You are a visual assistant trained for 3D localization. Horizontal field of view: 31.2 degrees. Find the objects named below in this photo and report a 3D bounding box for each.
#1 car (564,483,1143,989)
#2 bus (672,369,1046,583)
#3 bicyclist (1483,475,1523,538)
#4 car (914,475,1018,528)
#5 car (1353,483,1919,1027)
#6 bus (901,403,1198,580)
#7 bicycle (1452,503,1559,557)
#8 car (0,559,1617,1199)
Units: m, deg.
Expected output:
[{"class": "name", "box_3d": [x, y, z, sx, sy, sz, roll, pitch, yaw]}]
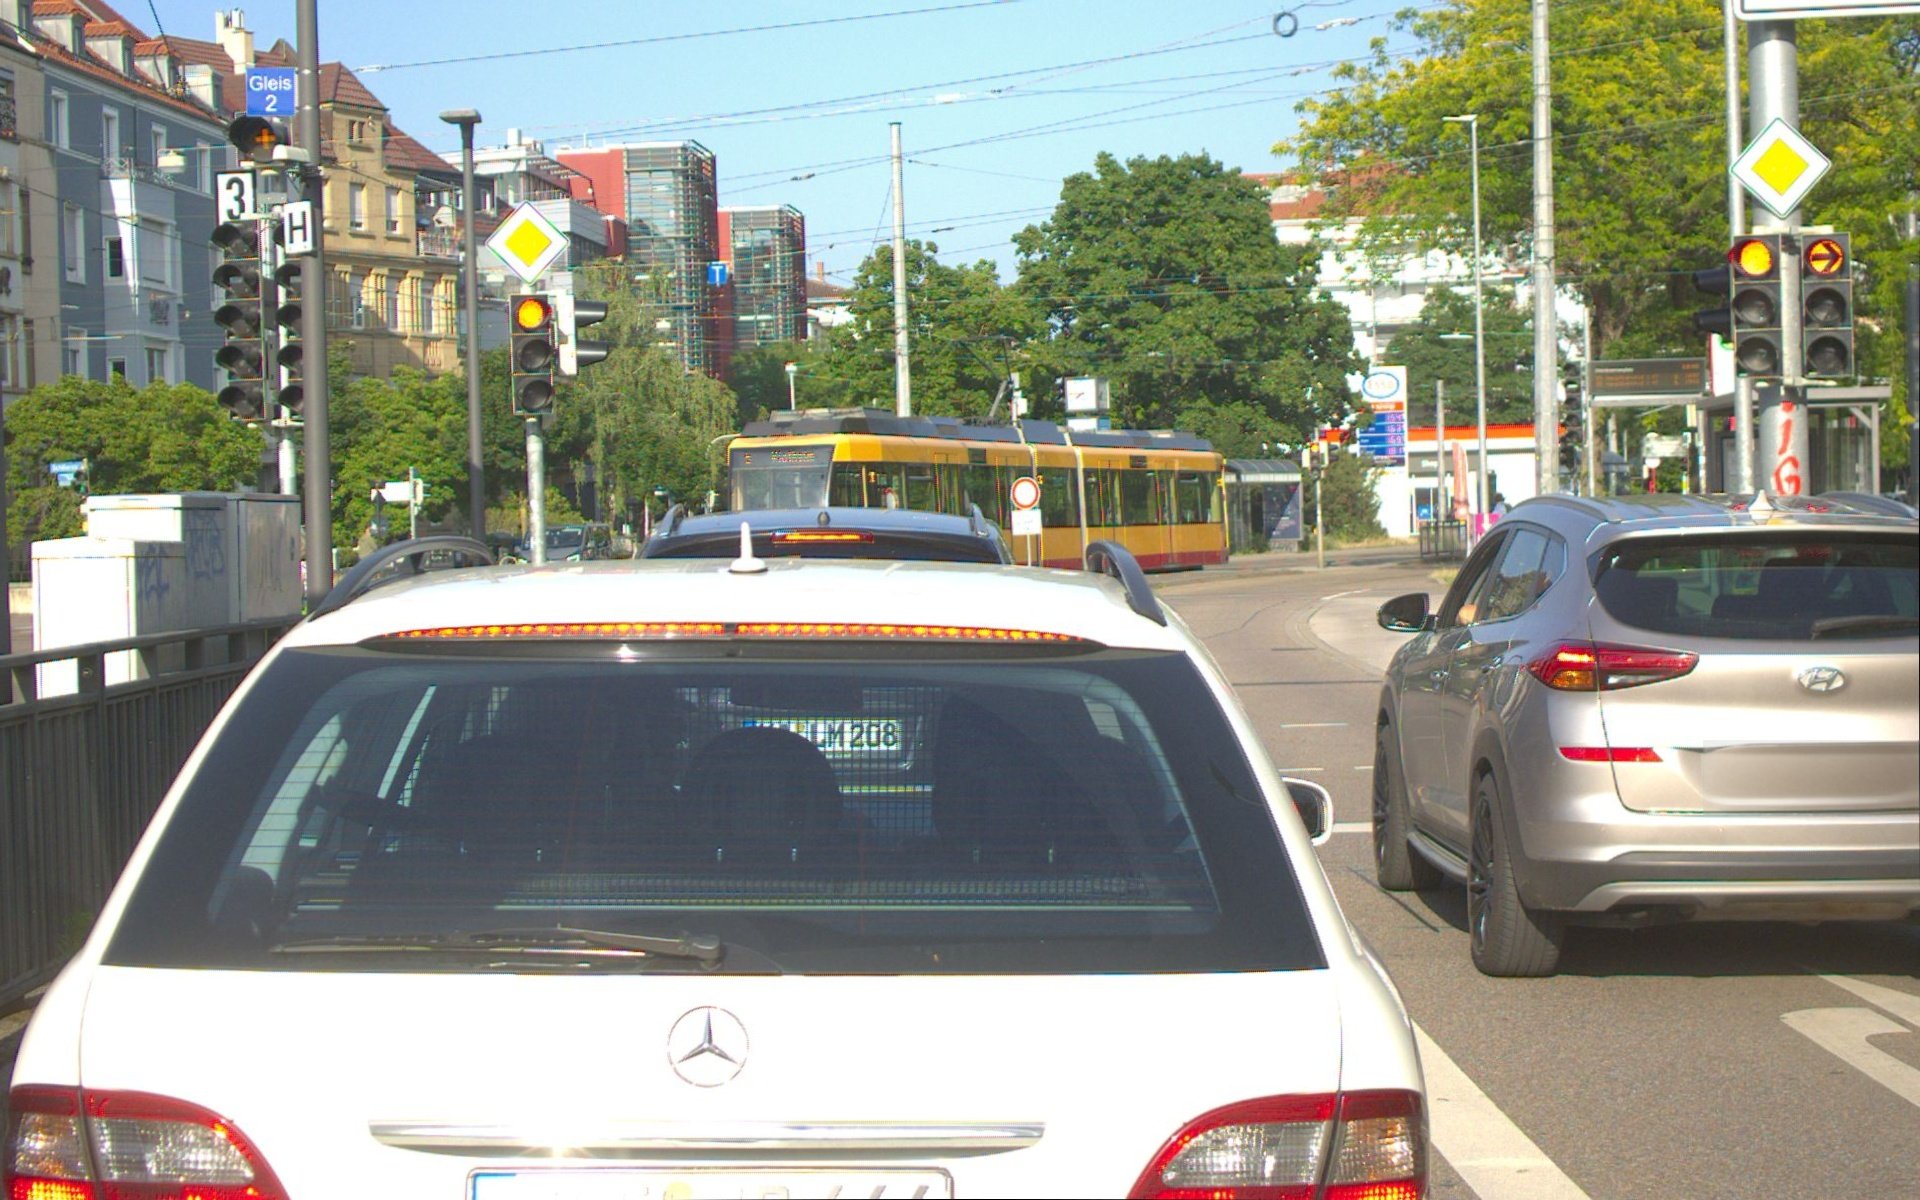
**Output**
[{"class": "car", "box_3d": [-0.368, 0.409, 13.139, 1.885, 1.645, 3.648, 1, 1, -1]}, {"class": "bus", "box_3d": [-1.592, -2.150, 64.133, 3.111, 3.593, 12.364, 1, 1, 17]}, {"class": "bicyclist", "box_3d": [12.933, -2.220, 81.918, 0.861, 1.476, 0.789, -1, 1, 7]}, {"class": "car", "box_3d": [0.225, -3.864, 135.037, 3.986, 2.007, 2.000, 1, 1, -1]}, {"class": "car", "box_3d": [2.614, 0.431, 12.455, 1.885, 1.645, 3.648, -2, 1, 0]}, {"class": "bus", "box_3d": [2.218, -2.265, 76.069, 3.111, 3.593, 12.580, 1, 1, 18]}, {"class": "bicycle", "box_3d": [12.996, -1.665, 81.939, 2.483, 1.209, 0.806, -1, 1, 8]}, {"class": "car", "box_3d": [-0.240, 0.687, 5.384, 1.796, 1.465, 3.648, 0, 1, -1]}]
